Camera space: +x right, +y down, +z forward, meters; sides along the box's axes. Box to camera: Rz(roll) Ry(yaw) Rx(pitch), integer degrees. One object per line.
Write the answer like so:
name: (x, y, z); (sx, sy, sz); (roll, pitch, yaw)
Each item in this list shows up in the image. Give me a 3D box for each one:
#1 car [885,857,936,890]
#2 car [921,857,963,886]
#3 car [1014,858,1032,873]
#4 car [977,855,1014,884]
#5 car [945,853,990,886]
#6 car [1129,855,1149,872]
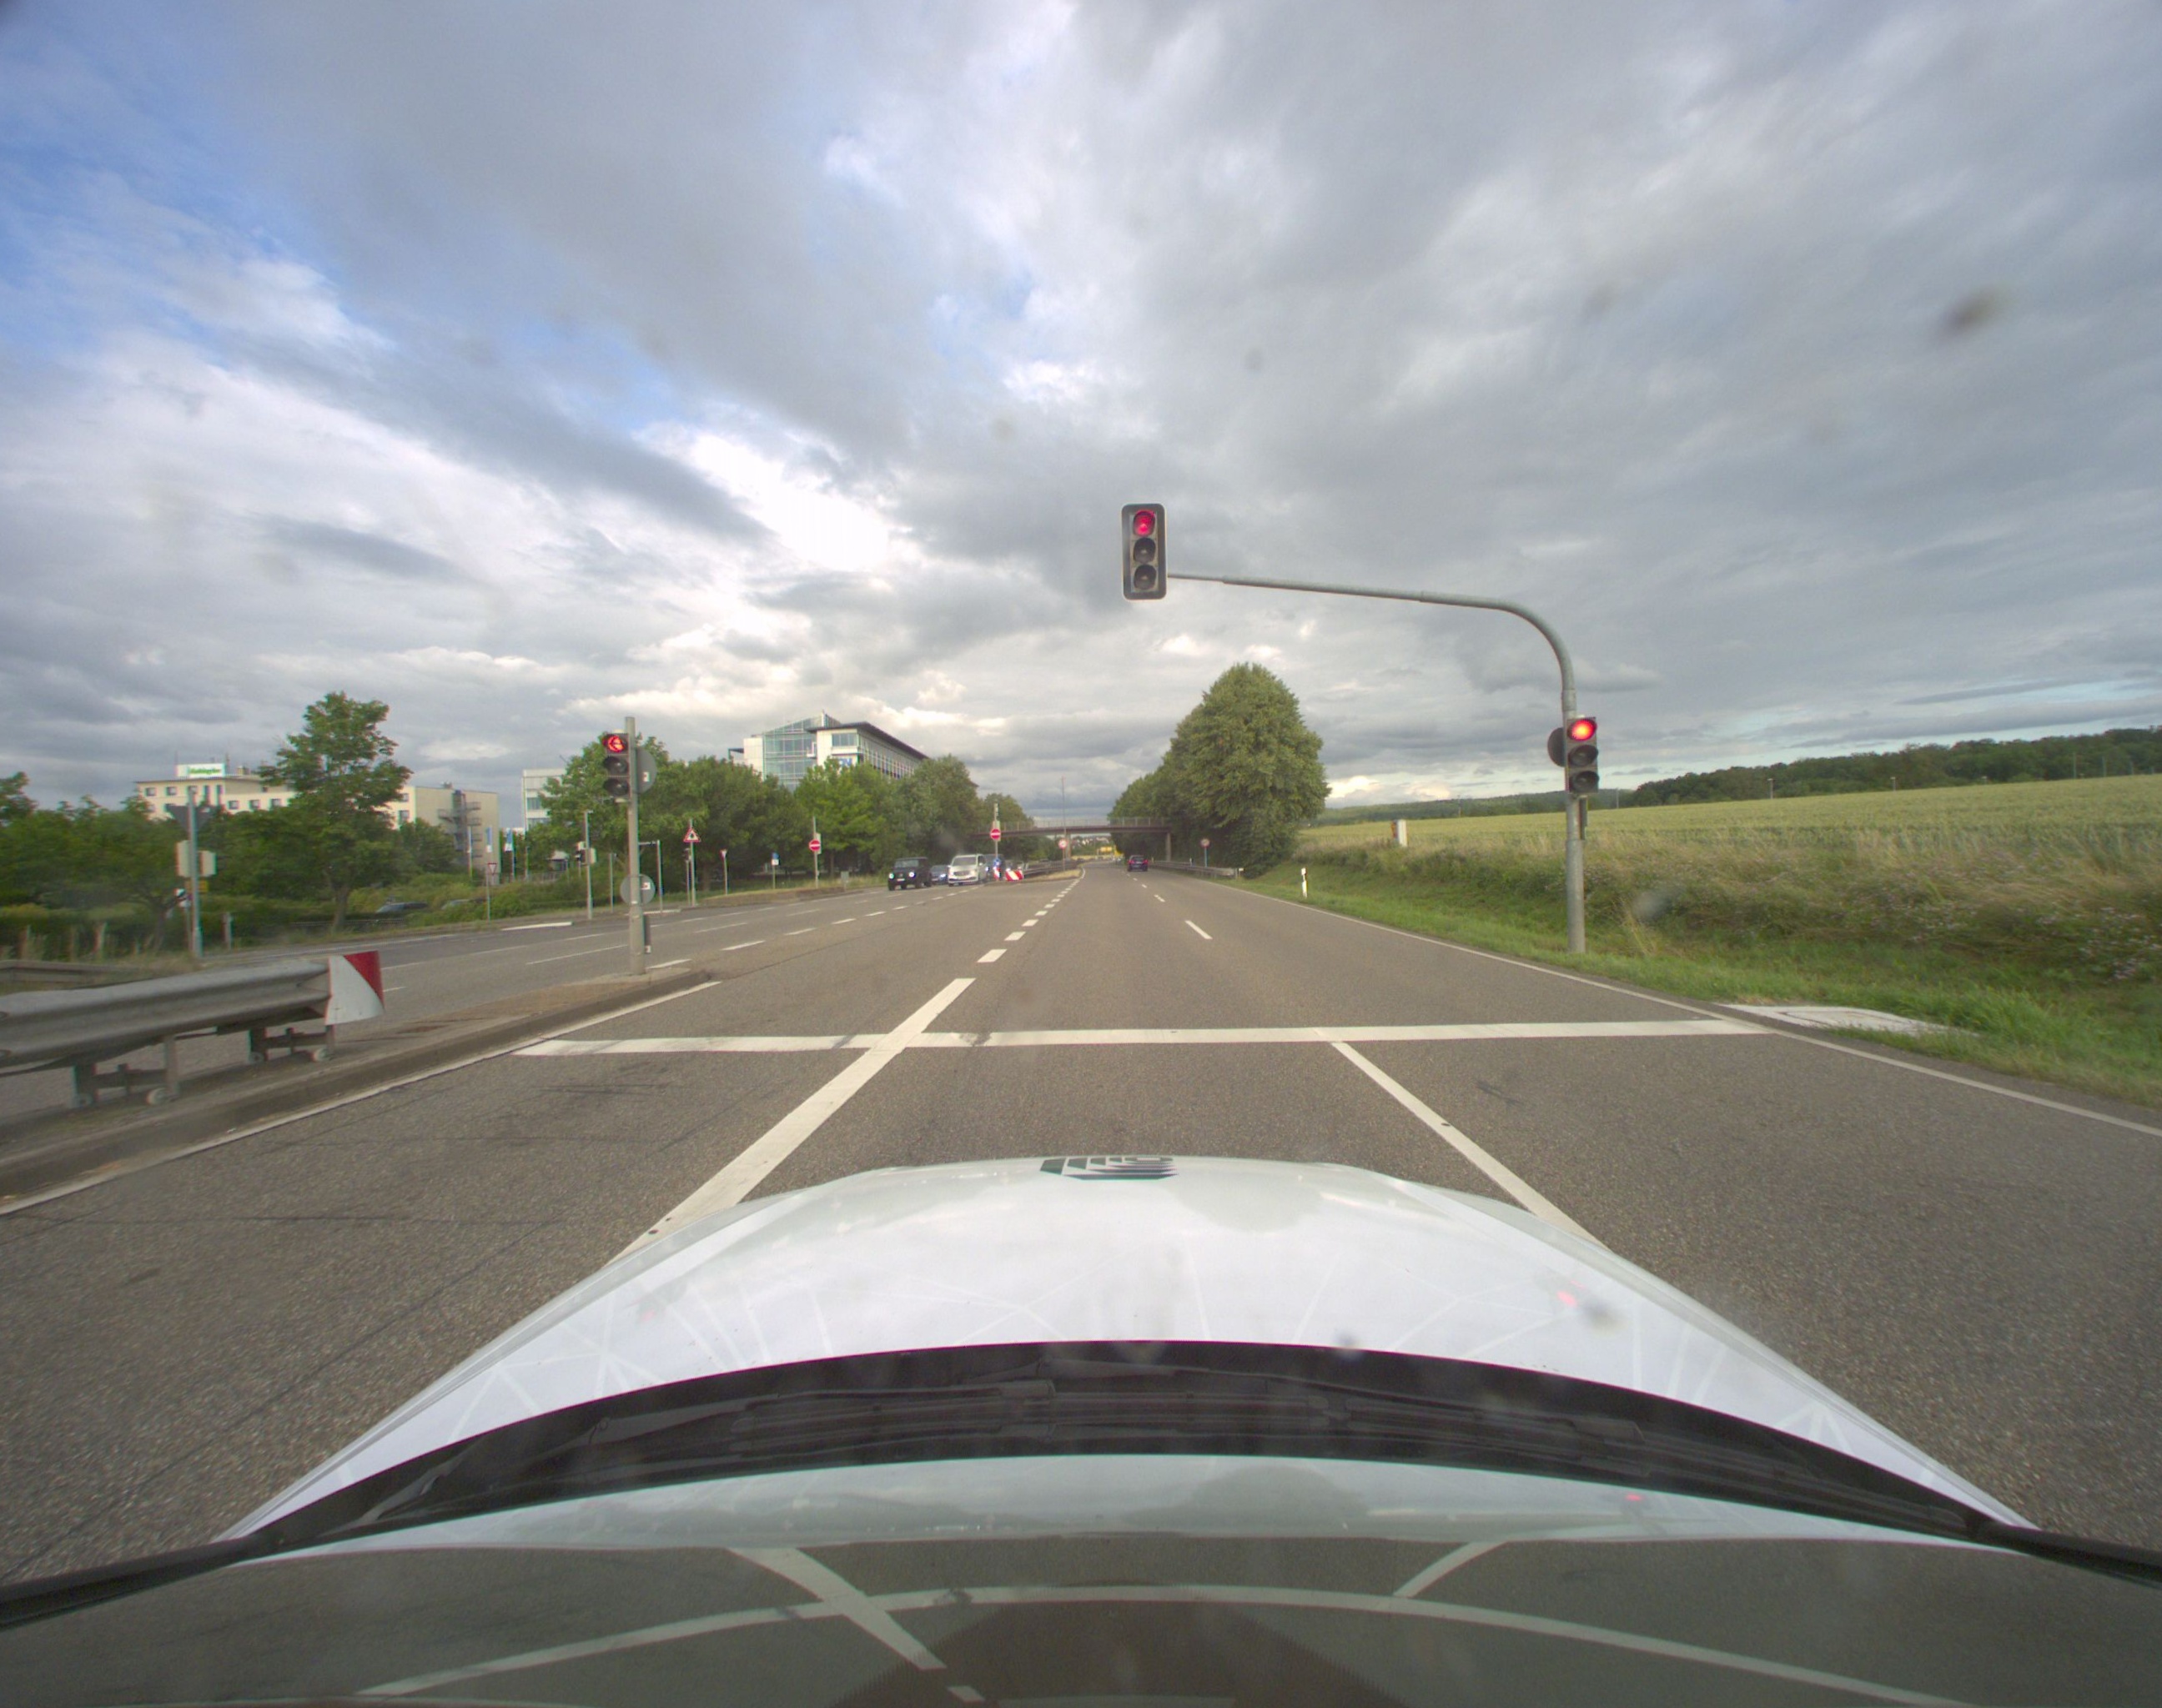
car: (-10.716, 1.190, 51.561); (2.076, 2.014, 5.216); (0, -1, 0)
car: (-10.027, 1.253, 59.050); (2.076, 2.014, 5.216); (0, -1, 0)
car: (-7.996, 1.622, 113.562); (2.076, 2.014, 5.216); (0, -1, 0)
car: (-6.187, 1.070, 59.311); (2.076, 2.014, 5.216); (0, -1, 0)
car: (-7.095, 0.963, 51.591); (2.076, 2.014, 5.216); (0, -1, 0)
car: (5.616, 0.915, 79.244); (1.872, 1.552, 4.003); (0, -1, 3)
